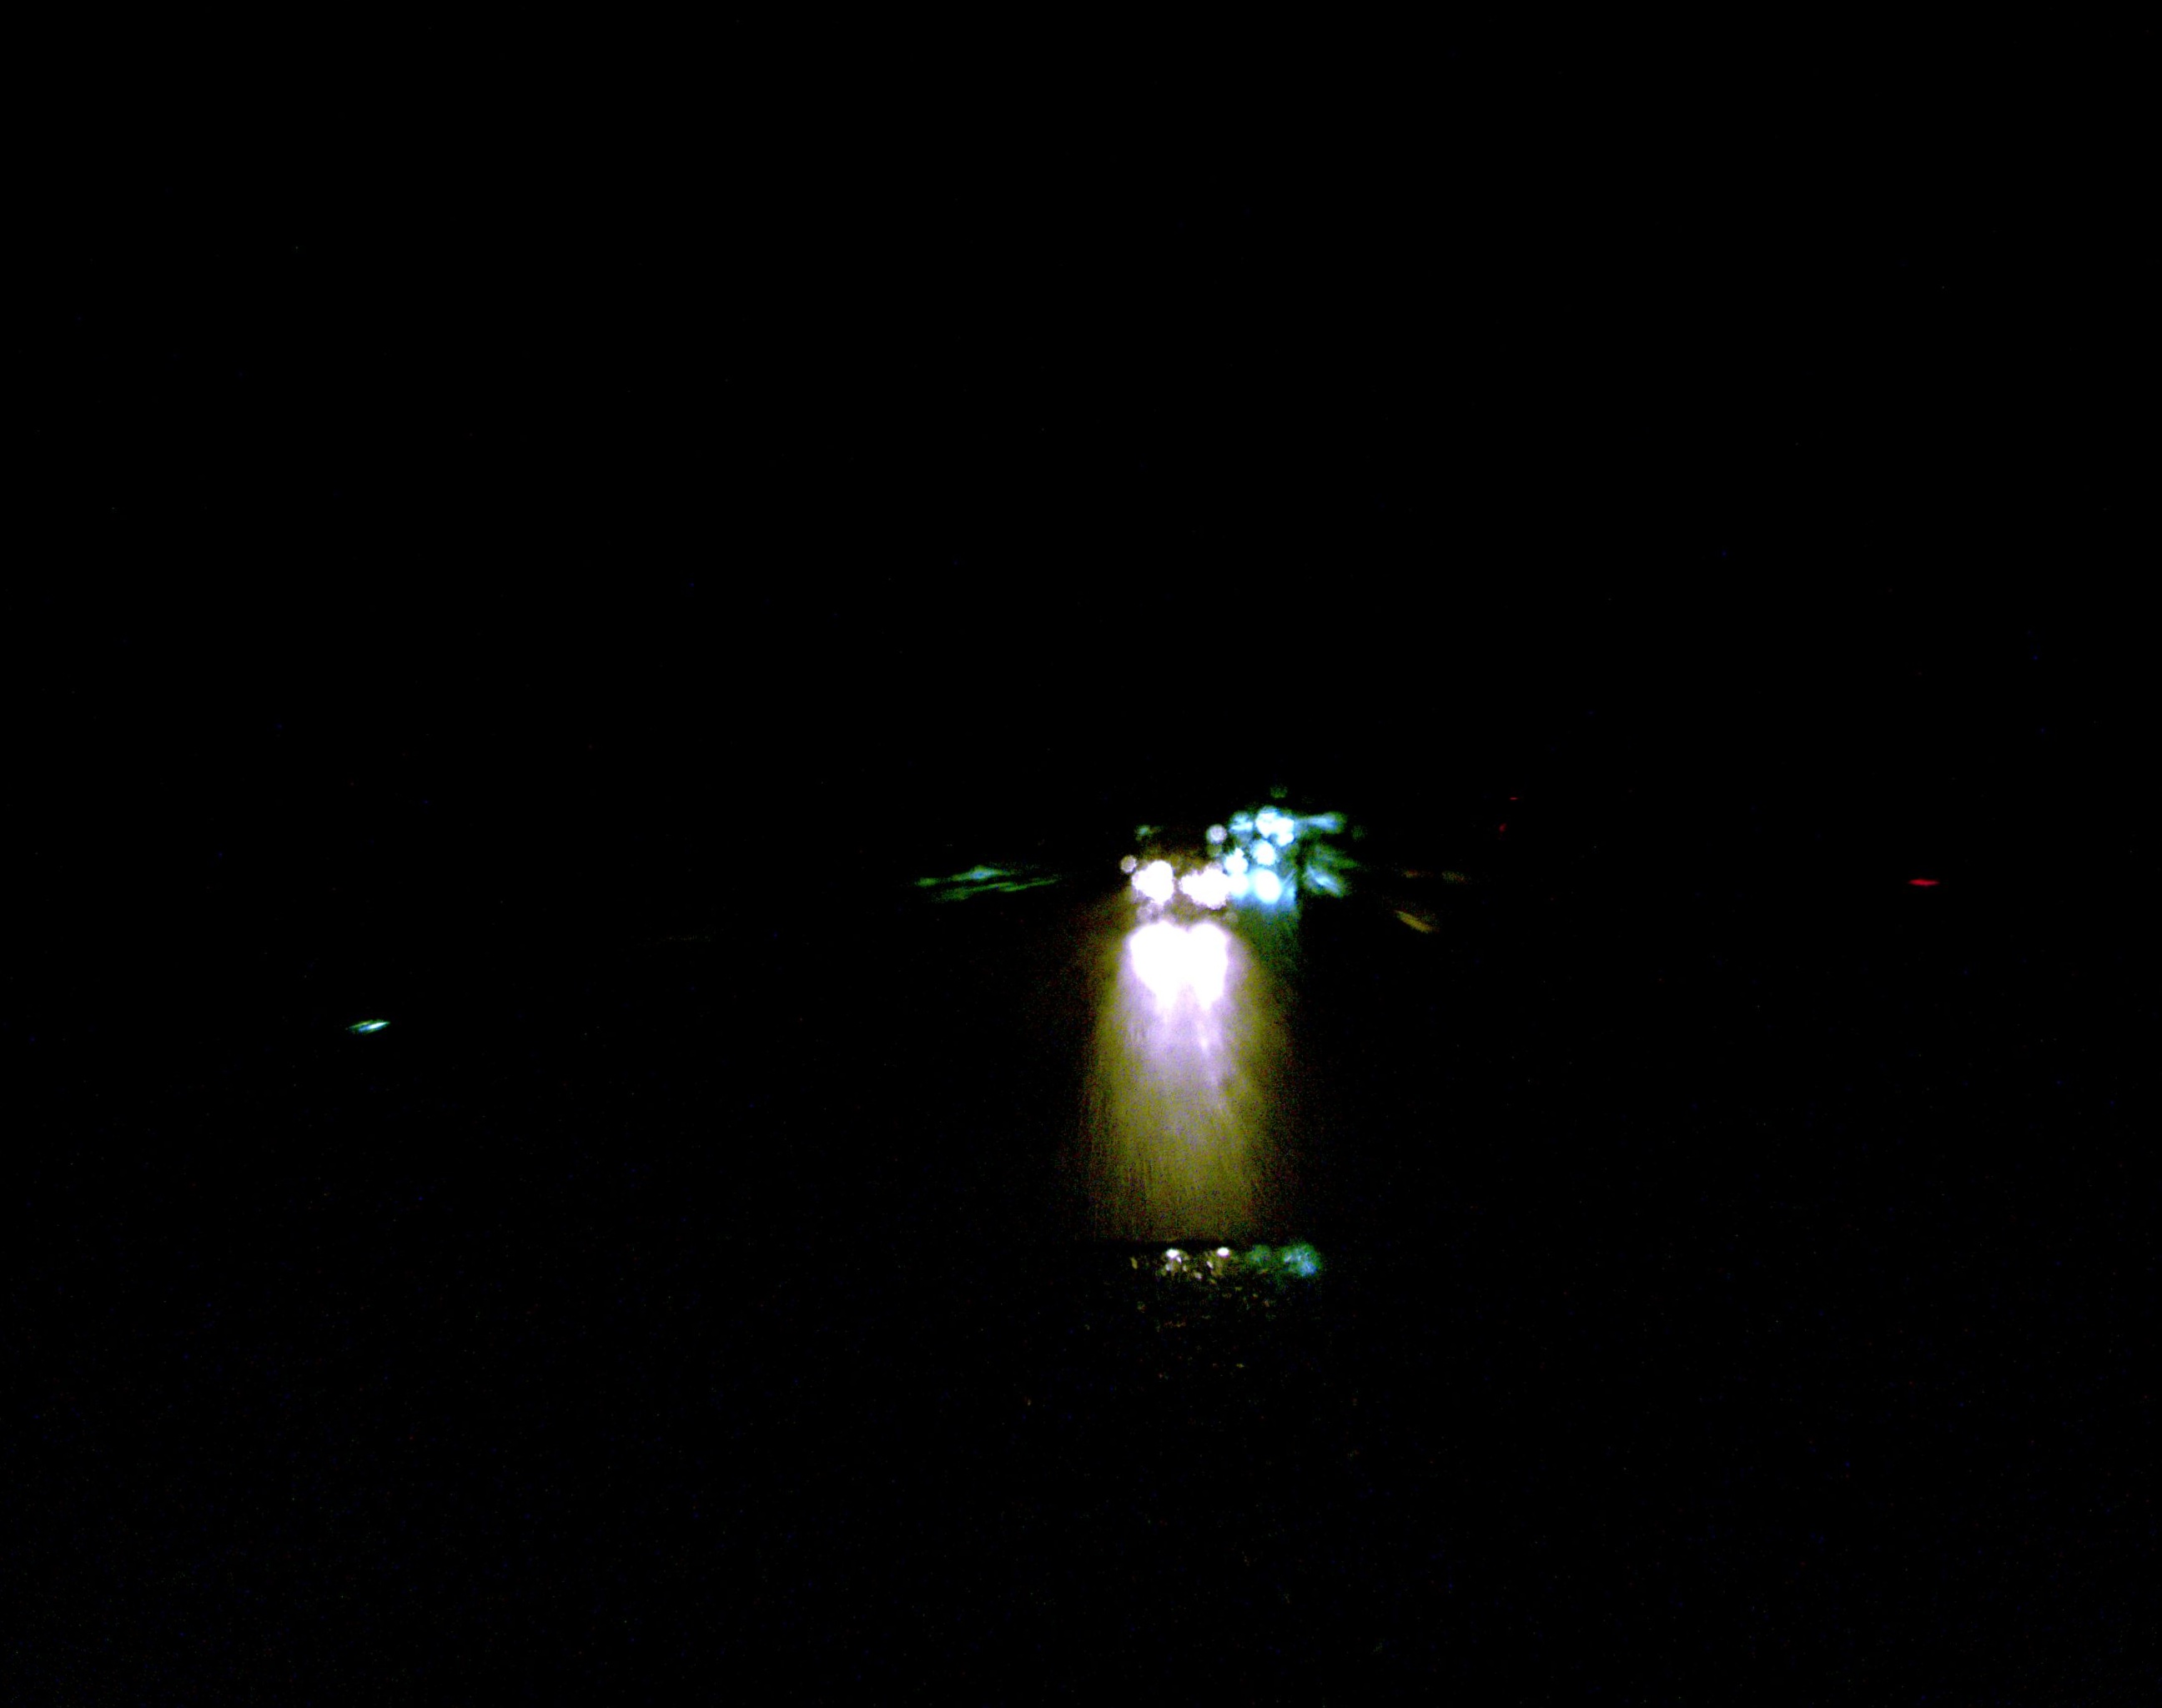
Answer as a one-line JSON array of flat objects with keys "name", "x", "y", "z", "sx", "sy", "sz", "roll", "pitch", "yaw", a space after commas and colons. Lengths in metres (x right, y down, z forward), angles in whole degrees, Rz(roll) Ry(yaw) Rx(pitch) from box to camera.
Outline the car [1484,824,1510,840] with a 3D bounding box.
[{"name": "car", "x": 46.229, "y": -2.443, "z": 84.551, "sx": 1.742, "sy": 1.418, "sz": 4.102, "roll": -3, "pitch": 4, "yaw": 17}]

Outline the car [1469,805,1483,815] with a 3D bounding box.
[{"name": "car", "x": 64.910, "y": -7.238, "z": 124.931, "sx": 1.760, "sy": 1.483, "sz": 4.048, "roll": -1, "pitch": 6, "yaw": 24}]

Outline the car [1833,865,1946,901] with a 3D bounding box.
[{"name": "car", "x": 38.457, "y": 1.327, "z": 36.245, "sx": 1.505, "sy": 1.420, "sz": 3.427, "roll": -2, "pitch": 2, "yaw": -10}]

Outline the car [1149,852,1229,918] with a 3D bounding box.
[{"name": "car", "x": 2.835, "y": 0.717, "z": 19.352, "sx": 1.685, "sy": 1.442, "sz": 3.645, "roll": -2, "pitch": 1, "yaw": 13}]

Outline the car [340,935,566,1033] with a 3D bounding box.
[{"name": "car", "x": -16.503, "y": 3.344, "z": 20.191, "sx": 1.738, "sy": 1.674, "sz": 4.126, "roll": -6, "pitch": 1, "yaw": 33}]

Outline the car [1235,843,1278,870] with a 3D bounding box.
[{"name": "car", "x": 9.694, "y": 0.108, "z": 41.757, "sx": 1.757, "sy": 1.304, "sz": 4.090, "roll": -1, "pitch": 1, "yaw": 20}]
